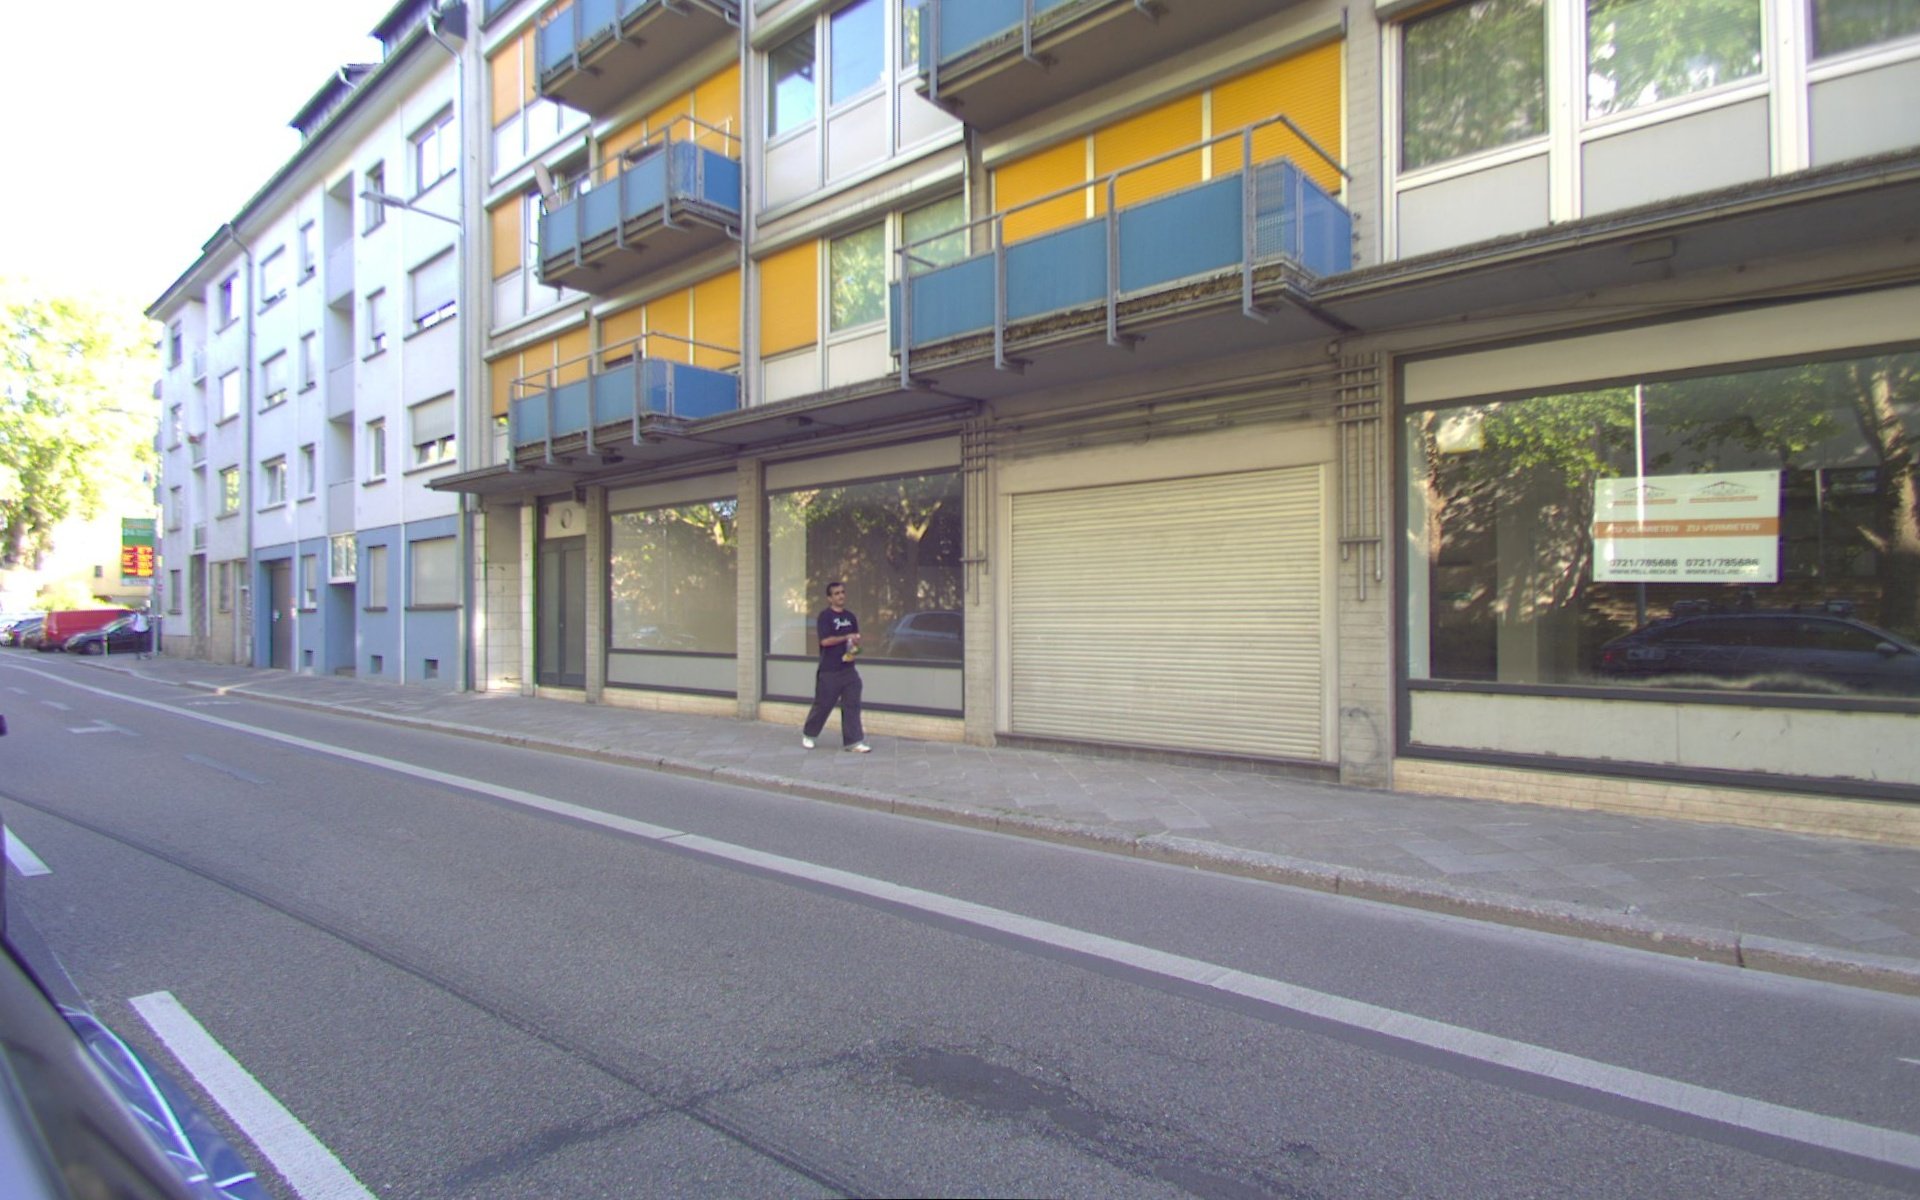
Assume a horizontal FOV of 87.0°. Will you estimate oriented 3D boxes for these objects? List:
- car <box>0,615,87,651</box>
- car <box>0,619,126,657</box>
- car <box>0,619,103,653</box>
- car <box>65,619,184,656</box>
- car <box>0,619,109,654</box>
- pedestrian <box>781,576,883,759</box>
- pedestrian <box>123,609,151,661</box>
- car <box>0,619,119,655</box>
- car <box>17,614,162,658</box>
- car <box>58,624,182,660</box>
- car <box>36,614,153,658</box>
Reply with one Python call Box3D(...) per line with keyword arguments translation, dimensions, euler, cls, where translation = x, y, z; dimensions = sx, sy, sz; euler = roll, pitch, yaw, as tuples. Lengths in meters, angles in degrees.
Box3D(translation=(-59.337, 2.100, 64.717), dimensions=(2.186, 2.164, 5.077), euler=(-1, -1, 41), cls="car")
Box3D(translation=(-50.291, 2.088, 56.834), dimensions=(2.186, 1.952, 5.077), euler=(-1, -1, 41), cls="car")
Box3D(translation=(-55.963, 2.160, 61.991), dimensions=(2.314, 1.952, 4.978), euler=(-1, -1, 41), cls="car")
Box3D(translation=(-37.870, 1.679, 45.947), dimensions=(1.742, 1.572, 3.946), euler=(-1, -1, 41), cls="car")
Box3D(translation=(-54.116, 2.132, 60.359), dimensions=(2.082, 1.952, 4.928), euler=(-1, -1, 41), cls="car")
Box3D(translation=(-1.313, 0.663, 10.393), dimensions=(0.793, 1.785, 0.655), euler=(-1, -1, 41), cls="pedestrian")
Box3D(translation=(-28.072, 1.180, 34.516), dimensions=(0.756, 1.760, 0.600), euler=(-1, 0, 41), cls="pedestrian")
Box3D(translation=(-52.230, 2.111, 58.722), dimensions=(2.159, 1.952, 4.990), euler=(-1, -1, 41), cls="car")
Box3D(translation=(-42.684, 1.702, 49.718), dimensions=(2.256, 1.995, 5.156), euler=(-1, -1, 41), cls="car")
Box3D(translation=(-36.546, 1.789, 44.081), dimensions=(1.742, 1.431, 3.946), euler=(-1, -1, 41), cls="car")
Box3D(translation=(-40.583, 1.635, 47.520), dimensions=(1.866, 1.952, 3.946), euler=(-1, -1, 41), cls="car")
